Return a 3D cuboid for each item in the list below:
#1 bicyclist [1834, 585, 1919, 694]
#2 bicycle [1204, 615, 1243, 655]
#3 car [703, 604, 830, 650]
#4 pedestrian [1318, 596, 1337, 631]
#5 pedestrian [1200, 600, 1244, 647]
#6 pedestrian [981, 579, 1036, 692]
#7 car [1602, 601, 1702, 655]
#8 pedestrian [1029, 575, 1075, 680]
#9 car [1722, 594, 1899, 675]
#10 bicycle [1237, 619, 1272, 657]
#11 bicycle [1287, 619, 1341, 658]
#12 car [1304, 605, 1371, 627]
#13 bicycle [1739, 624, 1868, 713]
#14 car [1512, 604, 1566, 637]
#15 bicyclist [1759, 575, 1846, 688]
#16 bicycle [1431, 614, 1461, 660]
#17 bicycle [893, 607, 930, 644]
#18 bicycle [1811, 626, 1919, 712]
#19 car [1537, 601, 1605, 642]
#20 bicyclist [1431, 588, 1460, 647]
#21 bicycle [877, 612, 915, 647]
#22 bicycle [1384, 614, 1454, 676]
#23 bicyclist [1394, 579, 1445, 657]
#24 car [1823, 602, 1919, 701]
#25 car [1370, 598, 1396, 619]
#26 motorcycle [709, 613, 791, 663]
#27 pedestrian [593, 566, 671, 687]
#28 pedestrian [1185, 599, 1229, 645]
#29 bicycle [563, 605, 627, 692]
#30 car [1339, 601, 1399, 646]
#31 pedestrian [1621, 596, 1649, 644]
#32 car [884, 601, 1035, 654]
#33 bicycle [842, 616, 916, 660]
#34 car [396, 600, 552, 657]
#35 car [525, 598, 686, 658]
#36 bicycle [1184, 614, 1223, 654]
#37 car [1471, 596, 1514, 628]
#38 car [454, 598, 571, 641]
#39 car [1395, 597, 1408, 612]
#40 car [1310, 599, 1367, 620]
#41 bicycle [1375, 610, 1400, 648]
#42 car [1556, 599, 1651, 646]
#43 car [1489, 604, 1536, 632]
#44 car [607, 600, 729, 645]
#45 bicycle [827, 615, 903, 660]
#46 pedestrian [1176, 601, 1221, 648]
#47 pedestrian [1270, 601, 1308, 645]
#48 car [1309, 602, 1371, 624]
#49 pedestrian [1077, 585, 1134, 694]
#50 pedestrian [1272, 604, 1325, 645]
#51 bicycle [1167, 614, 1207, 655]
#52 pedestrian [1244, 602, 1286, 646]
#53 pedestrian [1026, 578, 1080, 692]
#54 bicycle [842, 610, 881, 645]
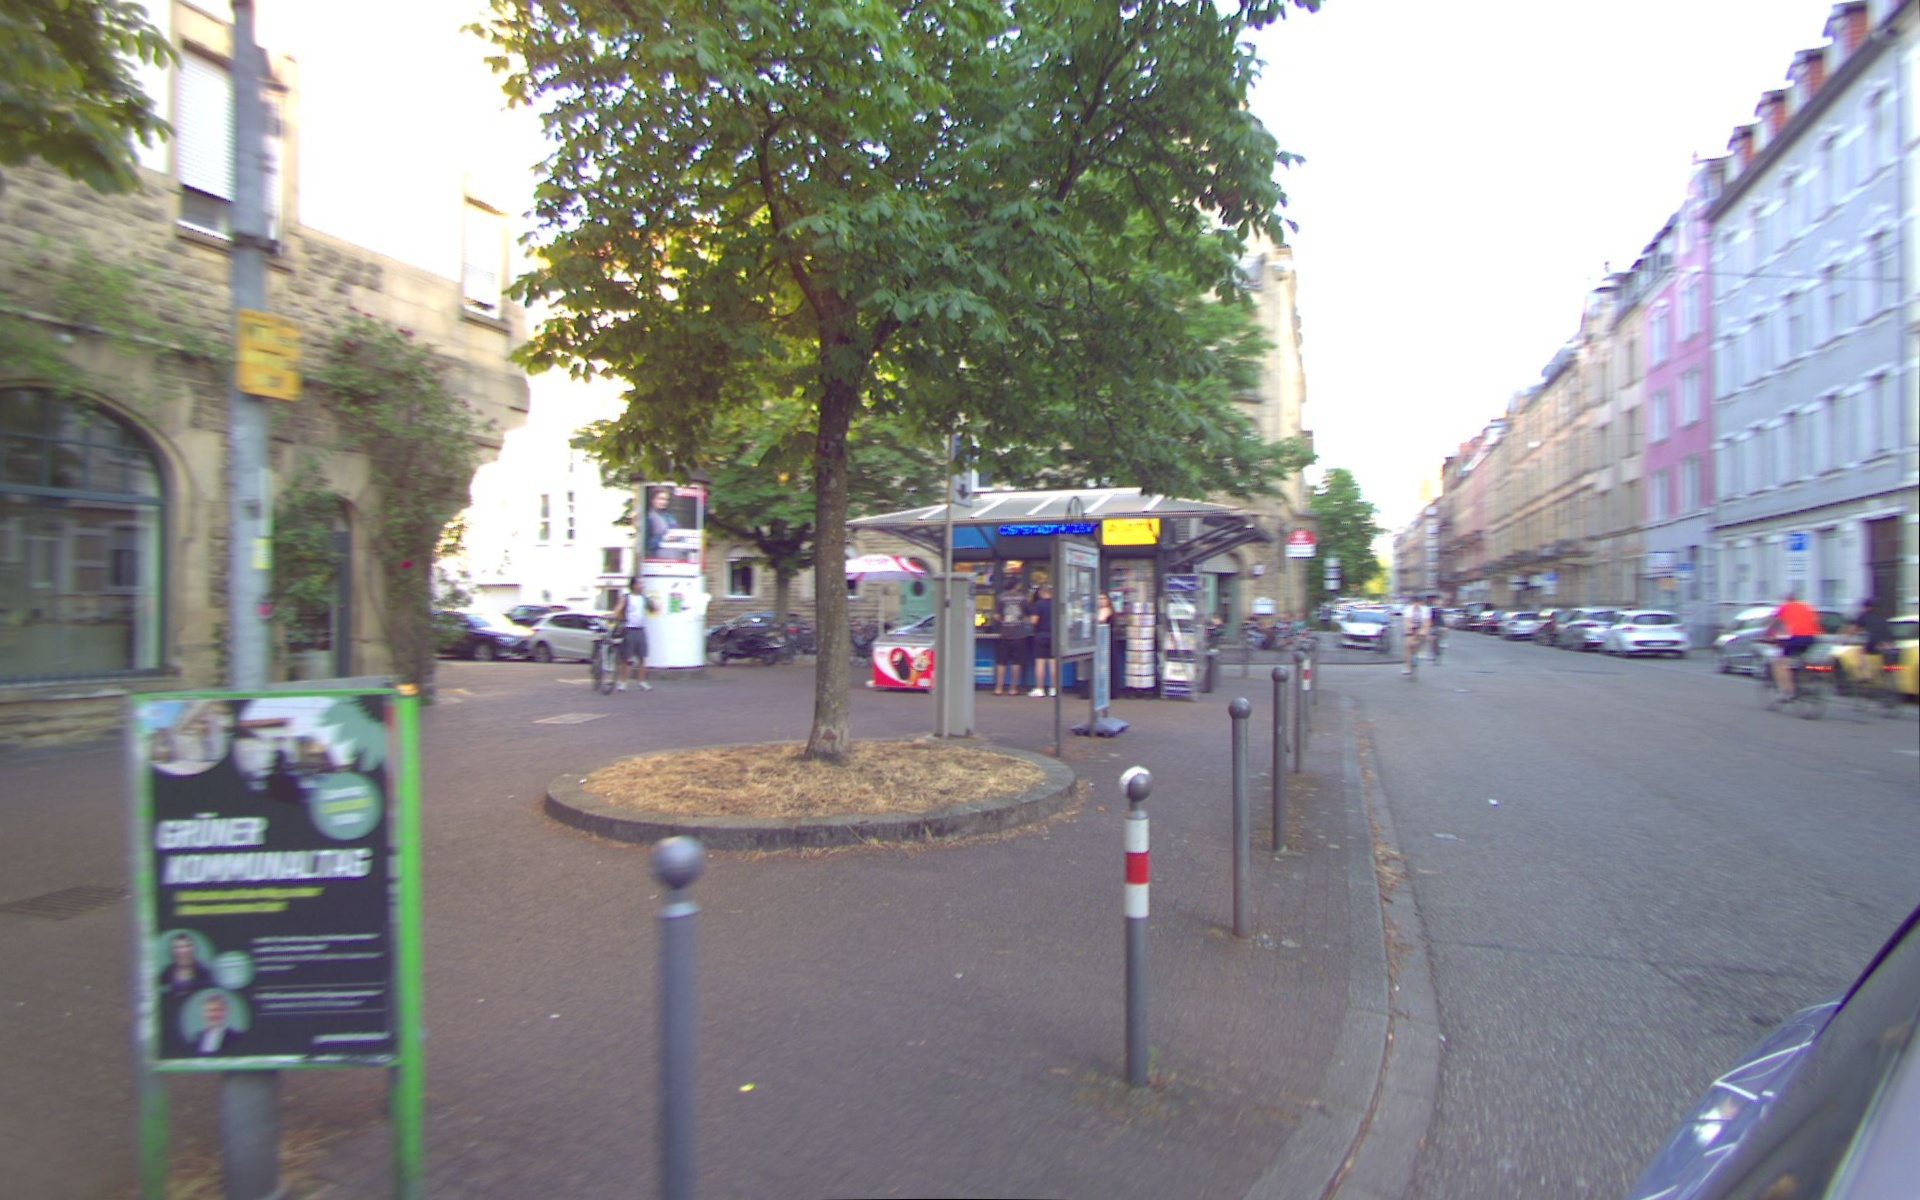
[{"bbox_3d":[13.380,0.555,14.737,0.706,1.545,0.862,0,0,18],"label":"bicyclist"},{"bbox_3d":[7.469,0.973,28.647,0.510,1.080,1.812,0,0,34],"label":"bicycle"},{"bbox_3d":[-6.512,0.908,34.111,3.858,1.502,1.814,-1,-1,21],"label":"car"},{"bbox_3d":[19.224,0.694,52.913,0.843,1.789,0.826,1,0,26],"label":"pedestrian"},{"bbox_3d":[8.315,0.728,32.171,1.081,1.414,0.843,-1,1,-28],"label":"pedestrian"},{"bbox_3d":[0.729,0.515,15.178,0.670,1.658,0.587,0,0,21],"label":"pedestrian"},{"bbox_3d":[22.083,0.868,32.454,1.738,1.596,3.898,-2,-1,22],"label":"car"},{"bbox_3d":[1.500,0.432,16.417,0.668,1.658,0.588,0,0,14],"label":"pedestrian"},{"bbox_3d":[18.577,0.720,22.344,1.785,1.613,4.112,-2,-1,23],"label":"car"},{"bbox_3d":[8.231,1.047,28.261,0.445,0.992,1.684,0,0,34],"label":"bicycle"},{"bbox_3d":[9.860,1.056,28.184,1.444,1.053,0.433,0,0,-19],"label":"bicycle"},{"bbox_3d":[25.700,1.058,68.936,4.253,1.470,1.810,0,0,22],"label":"car"},{"bbox_3d":[11.886,0.927,14.340,0.642,1.121,2.004,0,0,16],"label":"bicycle"},{"bbox_3d":[29.535,1.043,51.710,1.738,1.494,4.026,-6,-3,22],"label":"car"},{"bbox_3d":[11.870,0.427,14.284,0.645,1.545,0.862,0,0,17],"label":"bicyclist"},{"bbox_3d":[13.065,0.977,27.254,0.679,1.166,2.097,0,0,25],"label":"bicycle"},{"bbox_3d":[-1.546,0.791,32.669,0.583,1.153,1.823,0,0,18],"label":"bicycle"},{"bbox_3d":[13.409,0.968,14.830,0.713,1.121,2.003,0,0,18],"label":"bicycle"},{"bbox_3d":[25.922,0.899,43.088,1.737,1.613,4.028,-2,-1,21],"label":"car"},{"bbox_3d":[13.070,0.464,27.255,0.679,1.531,0.964,0,-1,25],"label":"bicyclist"},{"bbox_3d":[-2.058,0.940,32.760,0.583,1.091,1.823,0,0,18],"label":"bicycle"},{"bbox_3d":[9.263,0.875,20.389,0.684,1.166,2.082,0,-1,42],"label":"bicycle"},{"bbox_3d":[9.264,0.361,20.392,0.684,1.531,0.958,0,-1,43],"label":"bicyclist"},{"bbox_3d":[16.272,0.809,16.366,1.821,1.545,4.771,-2,-1,19],"label":"car"},{"bbox_3d":[37.252,0.765,89.136,1.935,1.762,4.254,-2,-1,21],"label":"car"},{"bbox_3d":[-4.742,0.846,22.843,1.812,1.067,0.574,0,0,23],"label":"motorcycle"},{"bbox_3d":[-5.113,0.385,15.738,0.960,1.811,1.007,1,0,-29],"label":"pedestrian"},{"bbox_3d":[7.996,0.698,32.788,1.081,1.414,0.843,-1,1,-28],"label":"pedestrian"},{"bbox_3d":[-5.631,0.701,15.560,0.623,1.202,1.916,1,1,-29],"label":"bicycle"},{"bbox_3d":[15.302,0.840,37.782,1.752,1.503,4.423,3,1,26],"label":"car"},{"bbox_3d":[27.956,0.827,41.915,0.843,1.974,0.826,0,-1,26],"label":"pedestrian"},{"bbox_3d":[-0.006,0.759,29.278,3.993,1.401,1.869,0,0,24],"label":"car"},{"bbox_3d":[-1.950,0.900,24.364,1.720,1.008,0.574,0,0,23],"label":"bicycle"},{"bbox_3d":[-13.728,0.800,28.582,3.956,1.502,1.813,-1,-1,22],"label":"car"},{"bbox_3d":[-9.516,0.751,27.188,3.861,1.502,1.813,-1,-1,22],"label":"car"},{"bbox_3d":[6.901,0.956,28.674,0.473,1.084,1.812,0,0,34],"label":"bicycle"},{"bbox_3d":[36.235,0.808,68.959,1.851,1.986,4.264,-3,-2,20],"label":"car"},{"bbox_3d":[-16.689,0.736,37.769,3.857,1.502,1.815,-1,-1,19],"label":"car"},{"bbox_3d":[77.005,0.789,176.484,1.738,2.307,4.026,-6,-3,22],"label":"car"},{"bbox_3d":[30.606,0.745,81.881,4.253,1.697,1.810,0,-1,22],"label":"car"},{"bbox_3d":[14.151,0.943,33.542,0.679,1.166,2.099,3,1,22],"label":"bicycle"},{"bbox_3d":[23.629,0.802,37.346,1.815,1.613,4.643,-2,-1,19],"label":"car"},{"bbox_3d":[32.752,1.067,60.126,1.737,1.494,4.249,-6,-2,21],"label":"car"},{"bbox_3d":[-10.349,0.788,35.916,3.856,1.502,1.815,-1,-1,19],"label":"car"},{"bbox_3d":[-2.217,0.863,23.657,1.720,1.008,0.574,0,0,23],"label":"bicycle"},{"bbox_3d":[7.464,0.746,31.647,1.081,1.414,0.843,-1,1,-27],"label":"pedestrian"},{"bbox_3d":[11.059,0.761,34.017,0.838,1.414,1.088,2,0,40],"label":"pedestrian"},{"bbox_3d":[28.038,0.945,74.699,4.253,1.548,1.810,0,-1,22],"label":"car"},{"bbox_3d":[2.102,0.561,14.688,0.664,1.558,0.592,0,0,-8],"label":"pedestrian"},{"bbox_3d":[11.061,0.797,33.118,1.389,1.302,0.843,1,0,-21],"label":"pedestrian"},{"bbox_3d":[6.543,0.973,29.083,0.500,1.126,1.812,0,0,34],"label":"bicycle"},{"bbox_3d":[10.084,0.776,33.479,0.878,1.414,1.014,2,-1,-21],"label":"pedestrian"},{"bbox_3d":[1.375,0.508,15.047,0.664,1.658,0.592,0,0,-8],"label":"pedestrian"},{"bbox_3d":[-3.227,0.877,33.270,0.583,1.091,1.823,0,0,18],"label":"bicycle"}]
